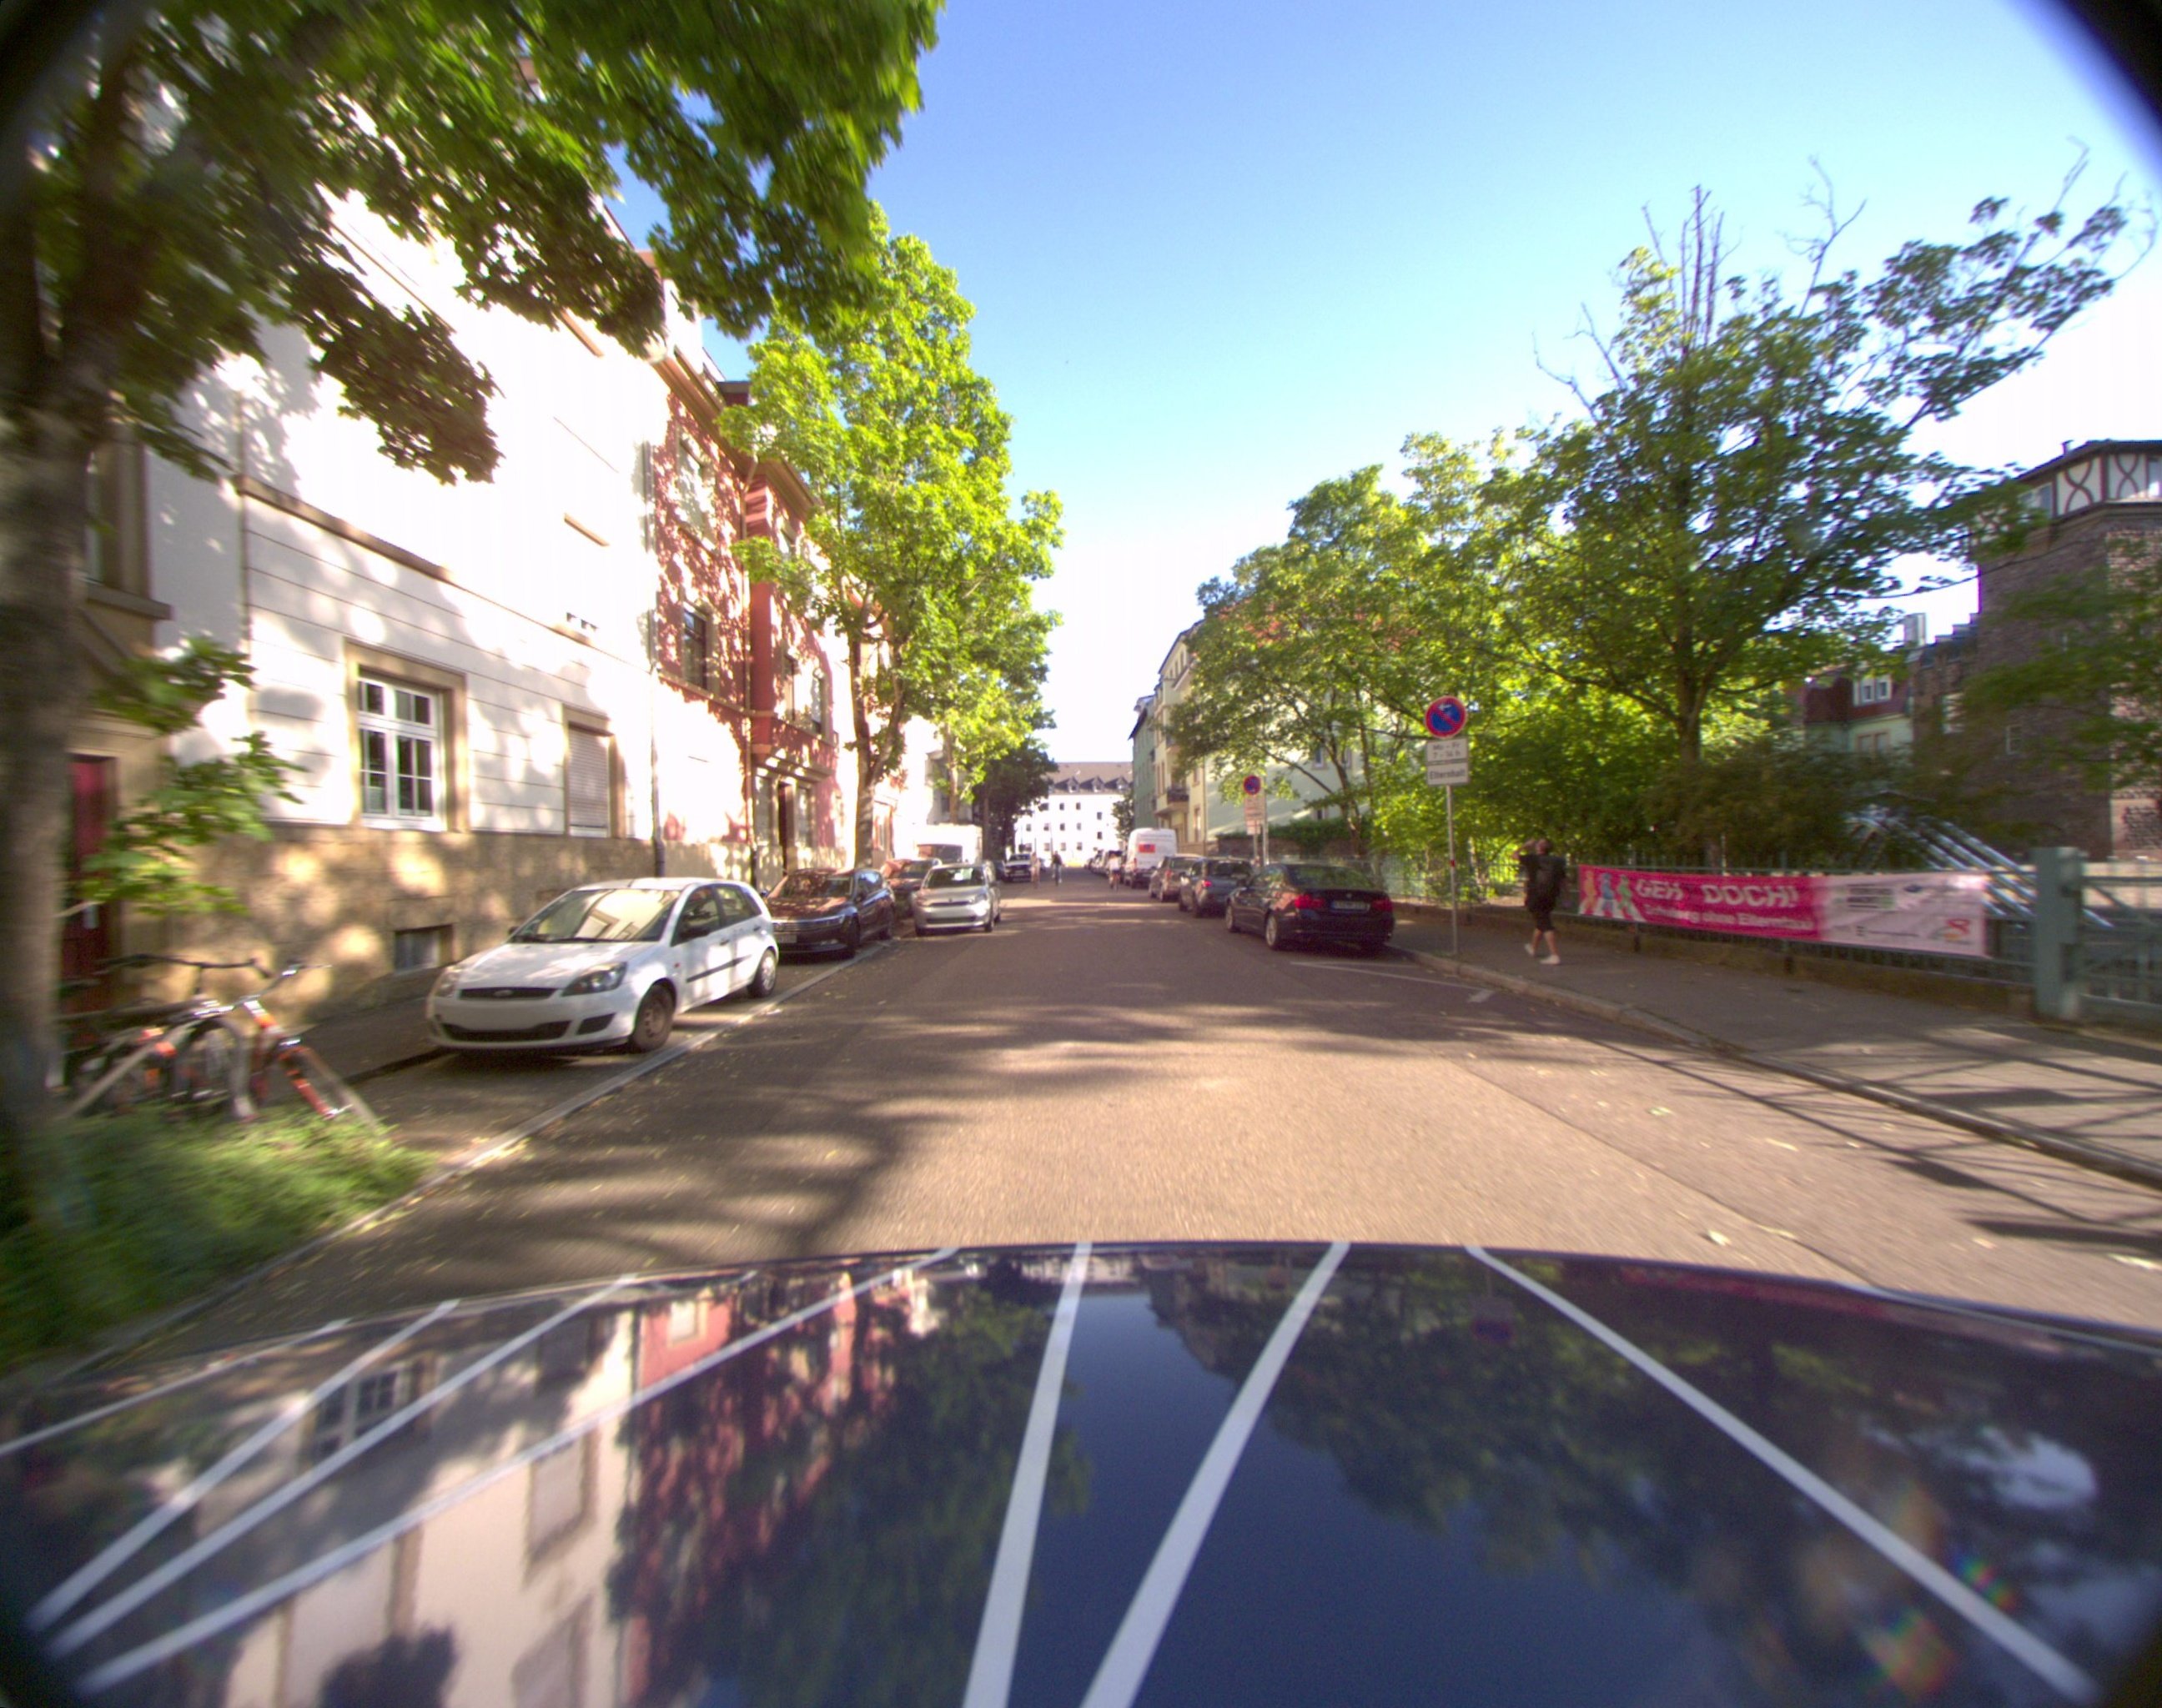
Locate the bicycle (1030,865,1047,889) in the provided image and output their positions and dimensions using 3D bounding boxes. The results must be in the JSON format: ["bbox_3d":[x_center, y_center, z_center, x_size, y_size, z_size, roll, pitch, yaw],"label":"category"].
[{"bbox_3d":[-2.089,1.132,37.460,0.708,1.039,1.857,-5,1,-3],"label":"bicycle"}]

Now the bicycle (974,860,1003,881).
[{"bbox_3d":[-5.911,1.045,48.504,1.764,1.297,0.586,-1,1,-3],"label":"bicycle"}]

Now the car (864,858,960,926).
[{"bbox_3d":[-4.792,0.992,22.212,1.890,1.706,4.942,-1,0,-3],"label":"car"}]

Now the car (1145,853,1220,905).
[{"bbox_3d":[3.335,0.759,25.694,1.785,1.581,4.468,1,0,-2],"label":"car"}]

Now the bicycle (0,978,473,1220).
[{"bbox_3d":[-4.423,1.240,3.981,1.974,1.067,0.599,0,1,-1],"label":"bicycle"}]

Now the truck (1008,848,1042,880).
[{"bbox_3d":[-3.560,0.602,48.819,1.833,1.937,5.540,-2,0,-1],"label":"truck"}]

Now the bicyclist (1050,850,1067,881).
[{"bbox_3d":[-1.172,0.593,39.630,0.757,1.556,0.981,-3,1,-4],"label":"bicyclist"}]

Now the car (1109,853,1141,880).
[{"bbox_3d":[2.709,0.754,47.368,1.639,1.543,4.087,0,1,-2],"label":"car"}]

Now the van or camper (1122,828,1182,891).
[{"bbox_3d":[3.289,0.224,36.535,2.134,2.753,5.850,1,0,-2],"label":"van or camper"}]

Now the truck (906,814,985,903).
[{"bbox_3d":[-4.943,0.169,28.611,2.079,2.951,6.107,1,0,-2],"label":"truck"}]

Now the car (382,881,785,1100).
[{"bbox_3d":[-4.468,1.094,7.595,1.601,1.479,3.747,0,0,-1],"label":"car"}]

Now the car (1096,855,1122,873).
[{"bbox_3d":[2.331,0.817,63.809,1.838,1.454,4.362,1,0,-2],"label":"car"}]

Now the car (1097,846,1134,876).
[{"bbox_3d":[2.598,0.488,58.169,2.258,2.156,5.241,1,0,-3],"label":"car"}]

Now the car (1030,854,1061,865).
[{"bbox_3d":[-5.347,0.800,113.724,4.494,1.498,1.944,-2,0,-8],"label":"car"}]

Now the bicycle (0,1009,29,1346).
[{"bbox_3d":[-4.930,1.182,2.454,1.974,1.222,0.760,0,1,-1],"label":"bicycle"}]

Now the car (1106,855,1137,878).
[{"bbox_3d":[2.724,0.797,52.126,1.771,1.512,4.824,0,0,-1],"label":"car"}]

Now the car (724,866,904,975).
[{"bbox_3d":[-4.580,1.050,13.814,1.791,1.505,4.458,-2,0,-2],"label":"car"}]

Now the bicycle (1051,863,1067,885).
[{"bbox_3d":[-1.158,1.047,39.640,0.741,1.054,1.857,-3,1,-3],"label":"bicycle"}]

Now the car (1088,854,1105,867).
[{"bbox_3d":[1.765,0.761,87.777,1.771,1.444,4.206,2,0,-2],"label":"car"}]

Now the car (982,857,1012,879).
[{"bbox_3d":[-5.737,0.959,52.438,1.684,1.414,4.429,0,0,-2],"label":"car"}]

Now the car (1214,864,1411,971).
[{"bbox_3d":[3.720,0.939,13.200,1.718,1.387,4.778,2,0,-2],"label":"car"}]

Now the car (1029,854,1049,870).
[{"bbox_3d":[-4.237,0.771,77.705,1.807,1.526,3.963,-2,0,0],"label":"car"}]

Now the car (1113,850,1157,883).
[{"bbox_3d":[2.931,0.658,42.300,1.880,1.675,4.968,1,0,-2],"label":"car"}]

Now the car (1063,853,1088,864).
[{"bbox_3d":[-0.823,0.697,114.443,3.614,1.440,1.553,-2,1,-10],"label":"car"}]

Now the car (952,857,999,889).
[{"bbox_3d":[-5.380,0.953,39.358,1.755,1.520,4.780,0,0,0],"label":"car"}]

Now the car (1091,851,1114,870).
[{"bbox_3d":[2.076,0.615,74.470,1.776,1.832,4.414,1,1,-3],"label":"car"}]

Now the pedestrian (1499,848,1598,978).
[{"bbox_3d":[5.894,0.723,9.604,0.883,1.568,0.529,-2,1,-1],"label":"pedestrian"}]

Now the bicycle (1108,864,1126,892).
[{"bbox_3d":[1.487,1.001,31.871,0.666,1.071,1.685,-2,1,1],"label":"bicycle"}]

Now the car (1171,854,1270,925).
[{"bbox_3d":[3.442,0.815,19.492,1.680,1.563,4.151,2,0,-1],"label":"car"}]

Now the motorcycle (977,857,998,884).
[{"bbox_3d":[-5.269,0.918,42.936,0.932,1.477,2.138,-2,0,0],"label":"motorcycle"}]

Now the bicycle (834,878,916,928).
[{"bbox_3d":[-4.955,1.181,18.349,1.816,1.160,0.569,1,1,-2],"label":"bicycle"}]

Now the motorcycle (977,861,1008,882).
[{"bbox_3d":[-5.383,1.063,46.201,1.768,1.233,0.700,-2,1,-41],"label":"motorcycle"}]

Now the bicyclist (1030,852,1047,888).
[{"bbox_3d":[-2.102,0.775,37.464,0.716,1.679,0.981,-4,1,-3],"label":"bicyclist"}]

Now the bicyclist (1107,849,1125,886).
[{"bbox_3d":[1.461,0.545,31.807,0.653,1.500,0.624,-2,1,1],"label":"bicyclist"}]

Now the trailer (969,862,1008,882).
[{"bbox_3d":[-5.468,1.068,44.852,2.088,1.106,1.114,-2,0,-15],"label":"trailer"}]

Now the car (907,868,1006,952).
[{"bbox_3d":[-2.681,1.162,17.183,1.683,1.535,3.799,-2,0,-2],"label":"car"}]
